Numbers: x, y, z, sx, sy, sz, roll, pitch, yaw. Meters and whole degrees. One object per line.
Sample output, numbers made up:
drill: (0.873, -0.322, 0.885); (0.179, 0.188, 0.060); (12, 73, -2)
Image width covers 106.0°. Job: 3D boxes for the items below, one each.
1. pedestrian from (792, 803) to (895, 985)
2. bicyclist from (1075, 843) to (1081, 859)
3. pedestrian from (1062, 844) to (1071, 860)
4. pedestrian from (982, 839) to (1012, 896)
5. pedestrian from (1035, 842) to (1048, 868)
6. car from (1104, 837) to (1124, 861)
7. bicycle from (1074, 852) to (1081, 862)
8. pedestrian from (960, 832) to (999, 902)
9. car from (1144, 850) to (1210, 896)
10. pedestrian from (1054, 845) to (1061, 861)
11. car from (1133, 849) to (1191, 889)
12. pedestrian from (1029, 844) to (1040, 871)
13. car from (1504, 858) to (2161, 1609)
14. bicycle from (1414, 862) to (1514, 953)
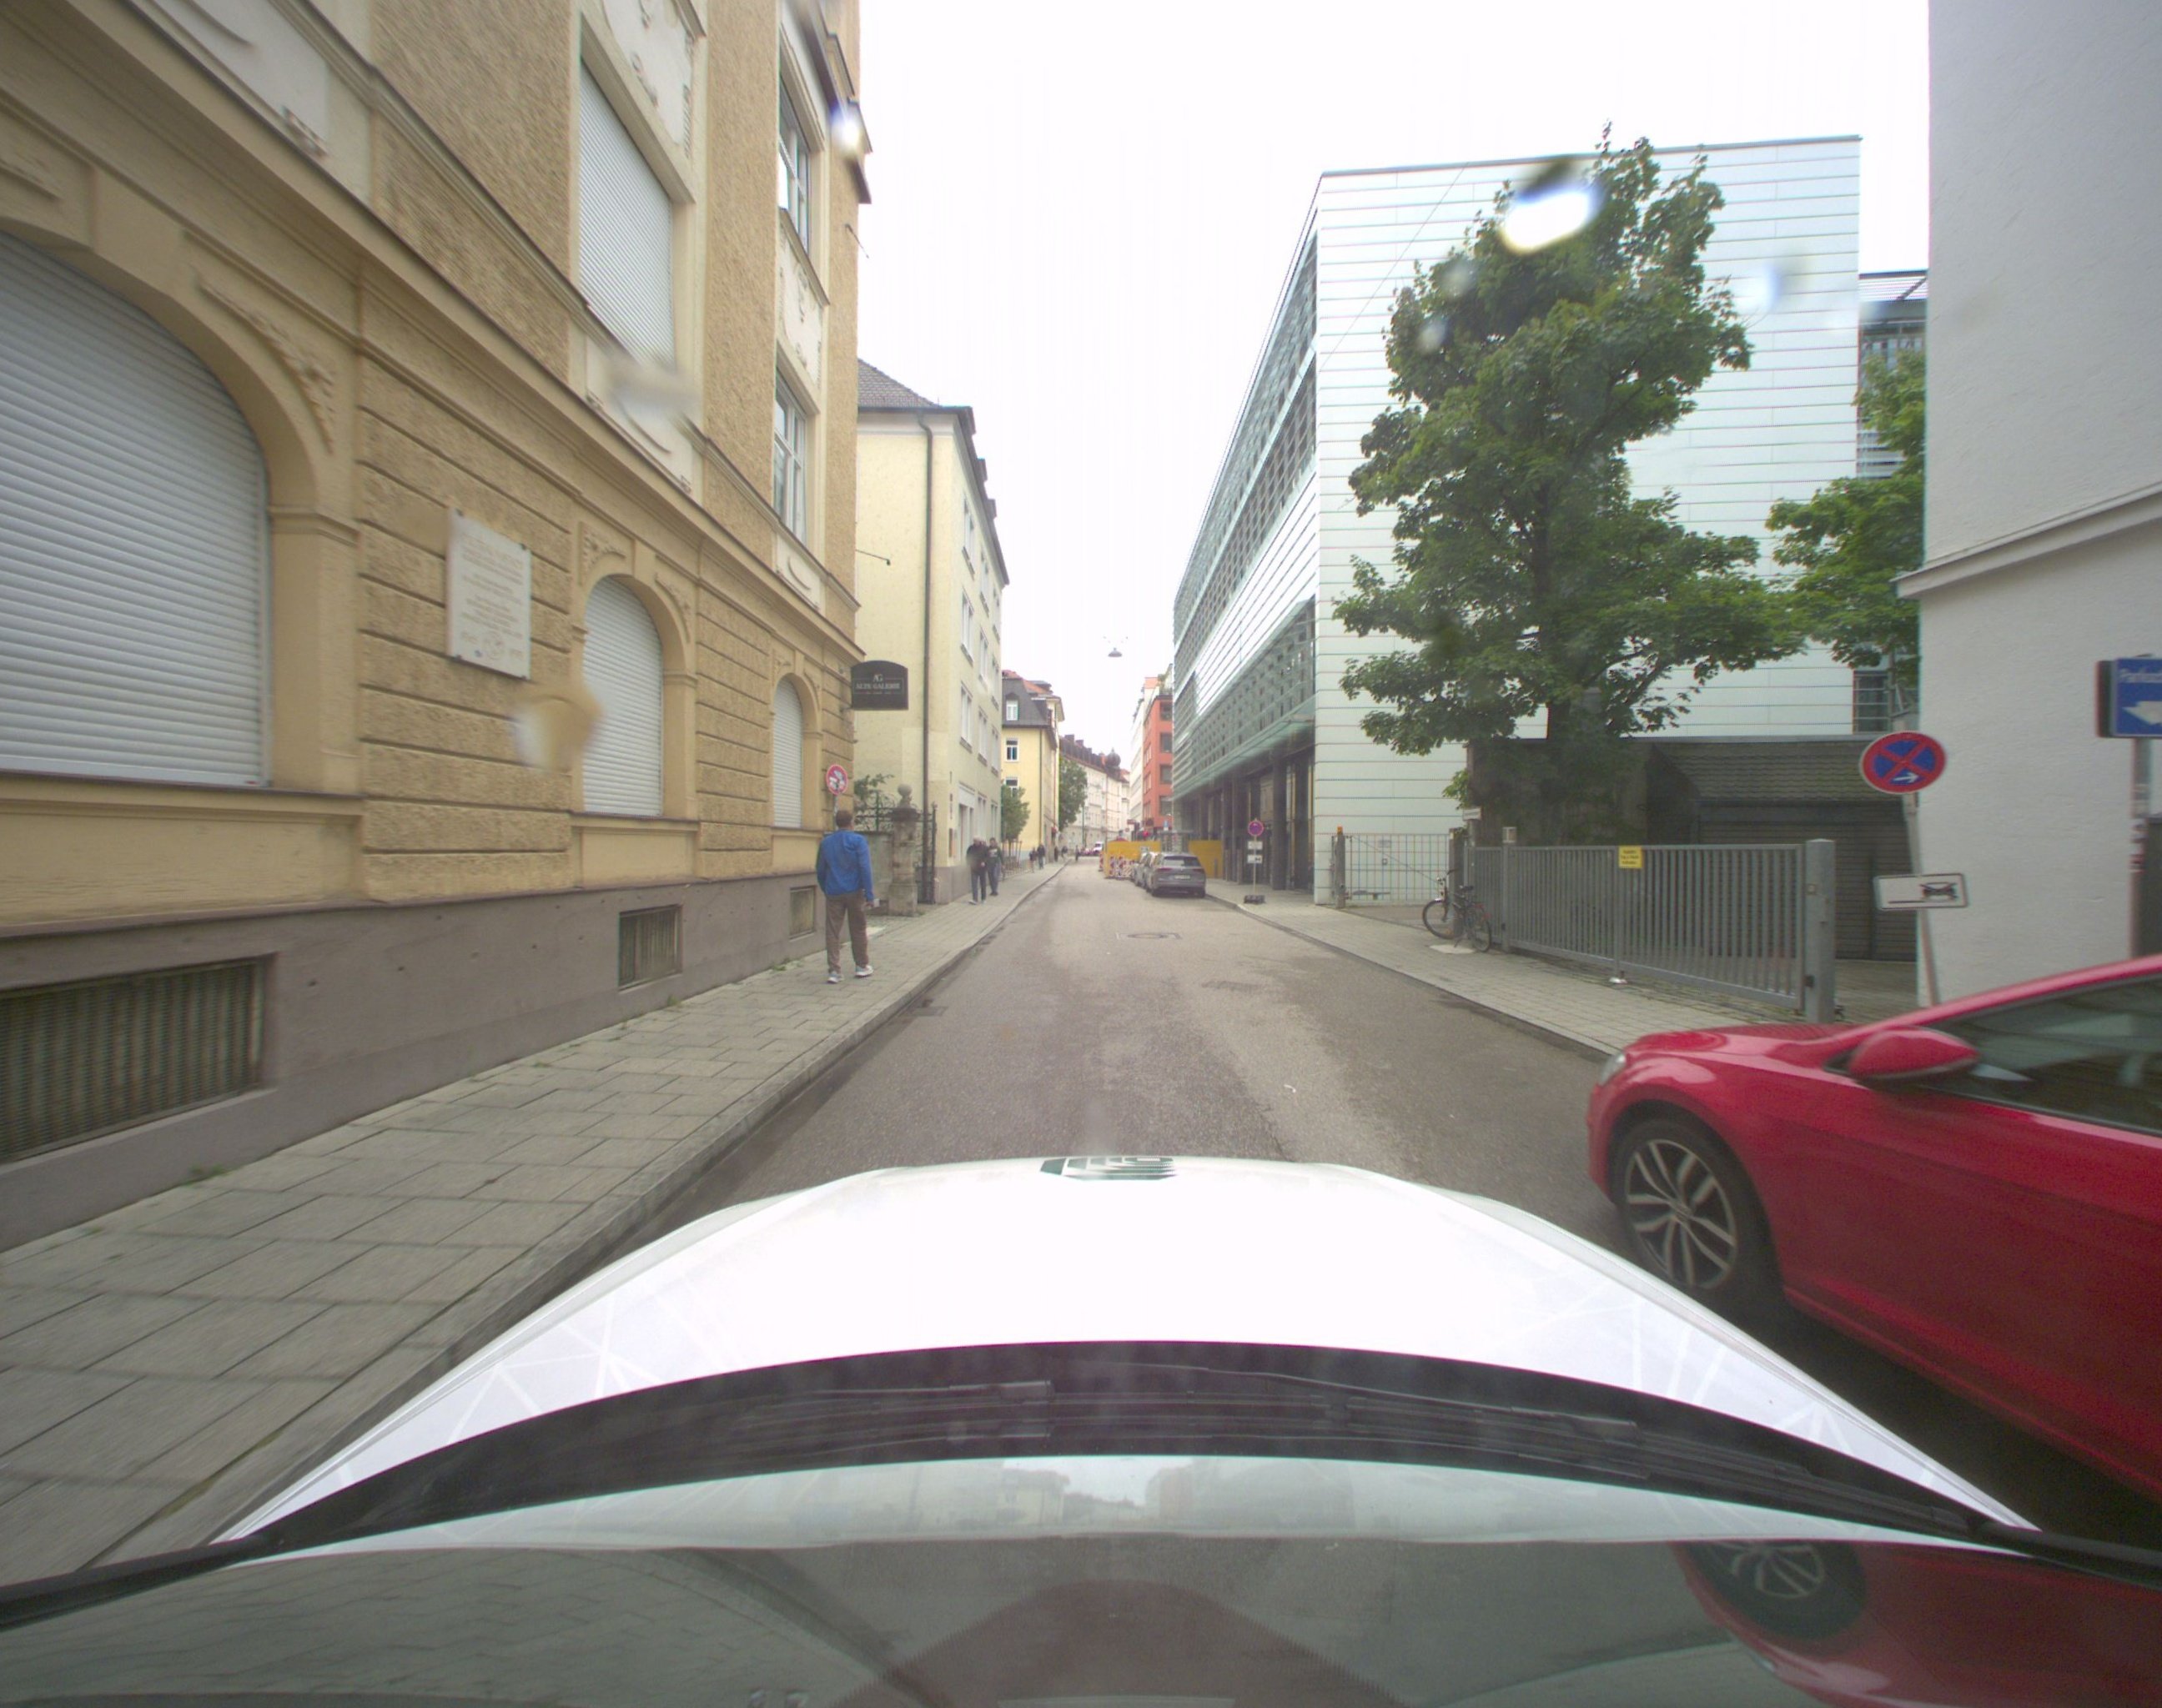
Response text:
pedestrian: (-2.571, 0.414, 8.933); (0.754, 1.854, 1.077); (2, 0, 0)
bicyclist: (-0.351, -0.294, 86.405); (0.657, 1.643, 0.895); (0, 0, 0)
pedestrian: (-1.524, -0.216, 84.874); (0.837, 1.700, 0.803); (1, 0, -1)
pedestrian: (-2.532, 0.390, 24.549); (0.710, 1.666, 0.929); (3, 0, 0)
pedestrian: (-2.816, 0.067, 57.962); (0.865, 1.881, 1.134); (1, 0, -1)
car: (3.612, -0.564, 90.272); (1.987, 2.536, 4.973); (1, 0, -1)
bicycle: (-0.355, 0.317, 86.457); (0.659, 1.039, 2.004); (0, 0, 0)
pedestrian: (-2.688, 0.339, 21.720); (0.903, 1.827, 0.955); (1, 0, -1)
car: (3.168, 0.599, 27.696); (1.703, 1.432, 4.328); (0, 0, -1)
pedestrian: (-2.471, -0.110, 85.060); (0.668, 1.648, 0.761); (1, 0, -1)
car: (3.205, 0.553, 32.990); (1.704, 1.467, 4.232); (2, 0, -3)
pedestrian: (-2.953, 0.236, 51.700); (0.645, 1.676, 0.723); (1, 0, -1)
car: (3.013, 0.779, 1.665); (1.758, 1.447, 4.290); (2, 0, -5)
bicycle: (5.923, 0.782, 12.713); (0.705, 1.198, 1.834); (0, 3, 1)
